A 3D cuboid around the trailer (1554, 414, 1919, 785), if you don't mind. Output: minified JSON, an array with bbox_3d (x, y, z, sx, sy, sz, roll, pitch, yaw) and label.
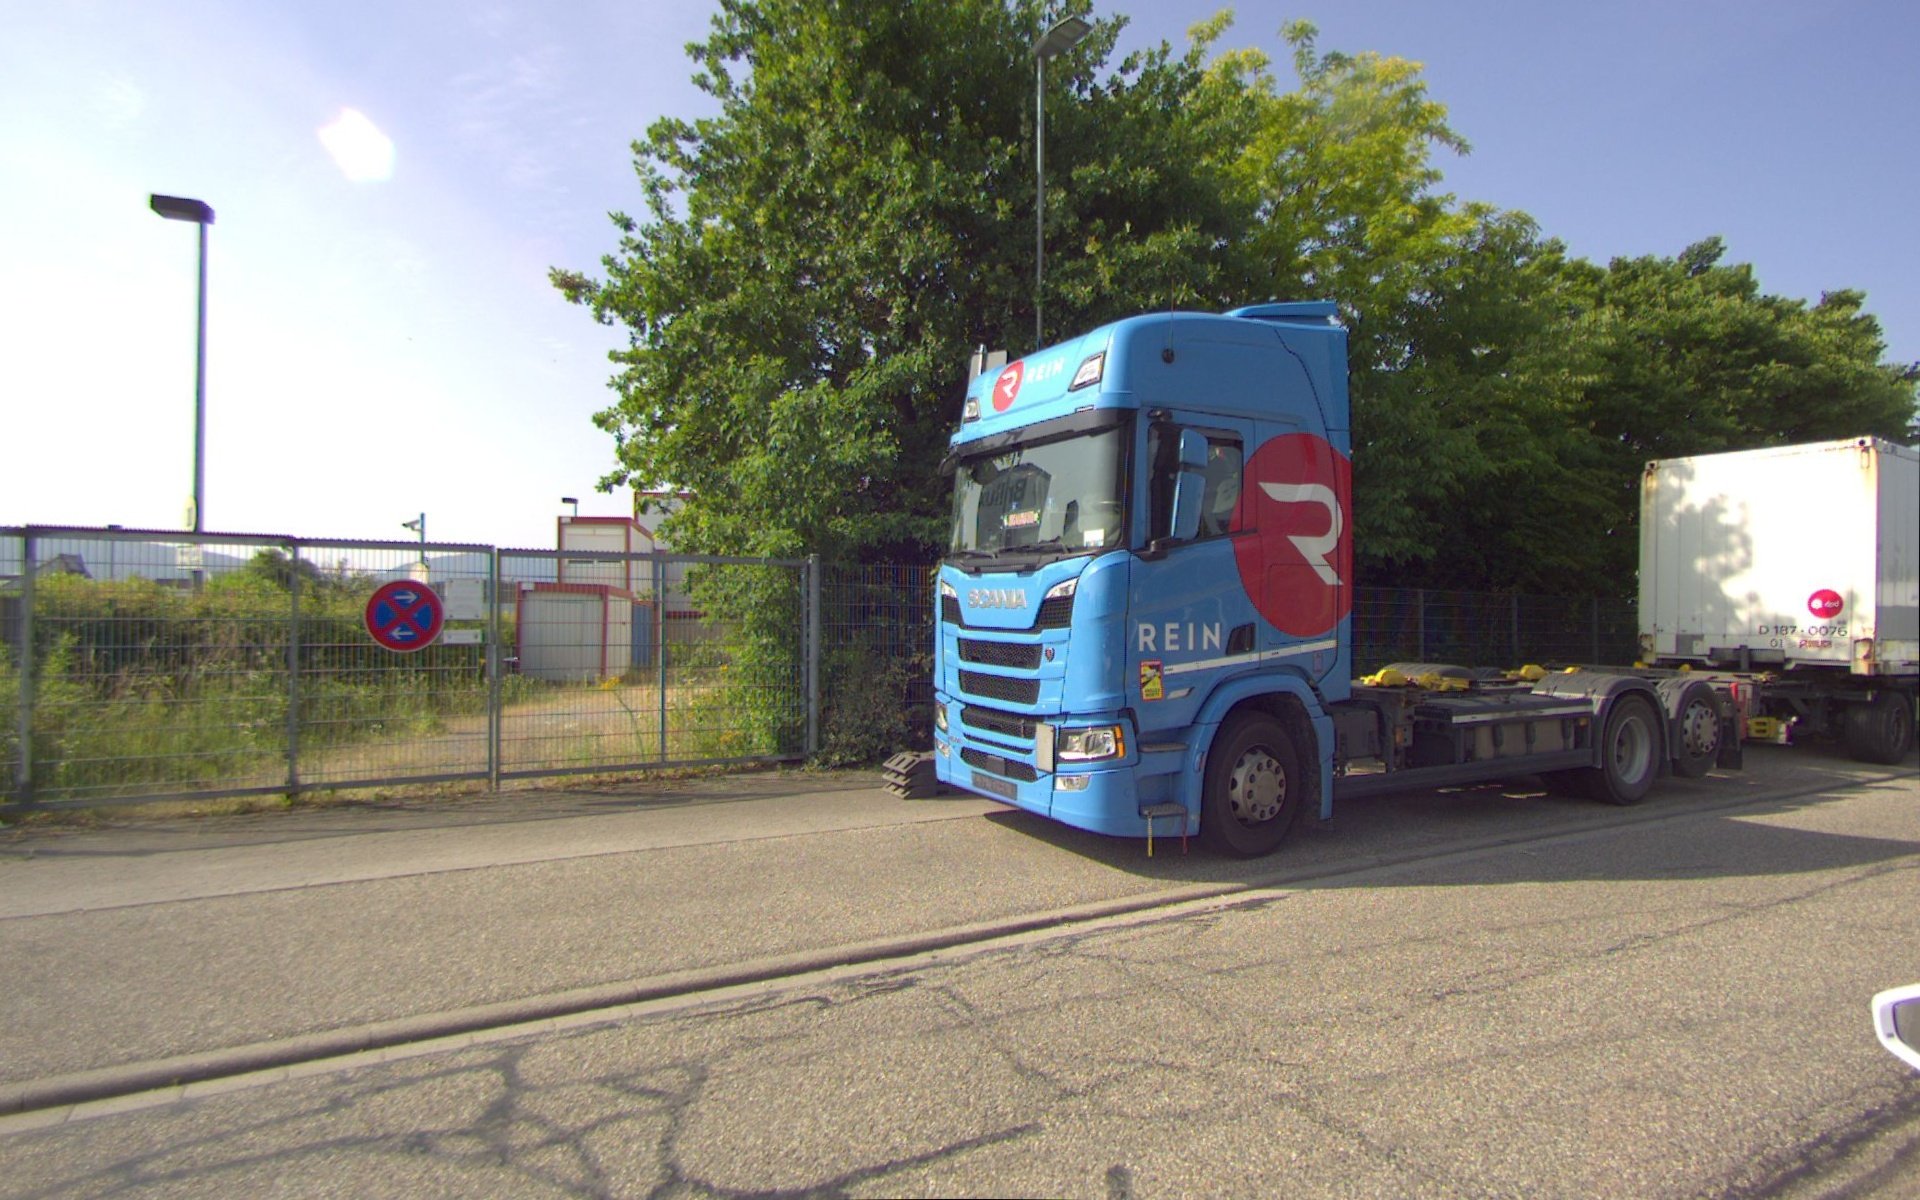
[{"bbox_3d":[12.497,0.113,14.301,9.652,3.936,2.686,2,-1,-31],"label":"trailer"}]

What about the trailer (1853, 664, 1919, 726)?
[{"bbox_3d":[19.246,1.692,18.398,6.172,0.998,2.636,1,-3,-31],"label":"trailer"}]

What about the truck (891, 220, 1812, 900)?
[{"bbox_3d":[4.233,-0.114,9.397,9.522,3.936,2.700,2,-1,-30],"label":"truck"}]
